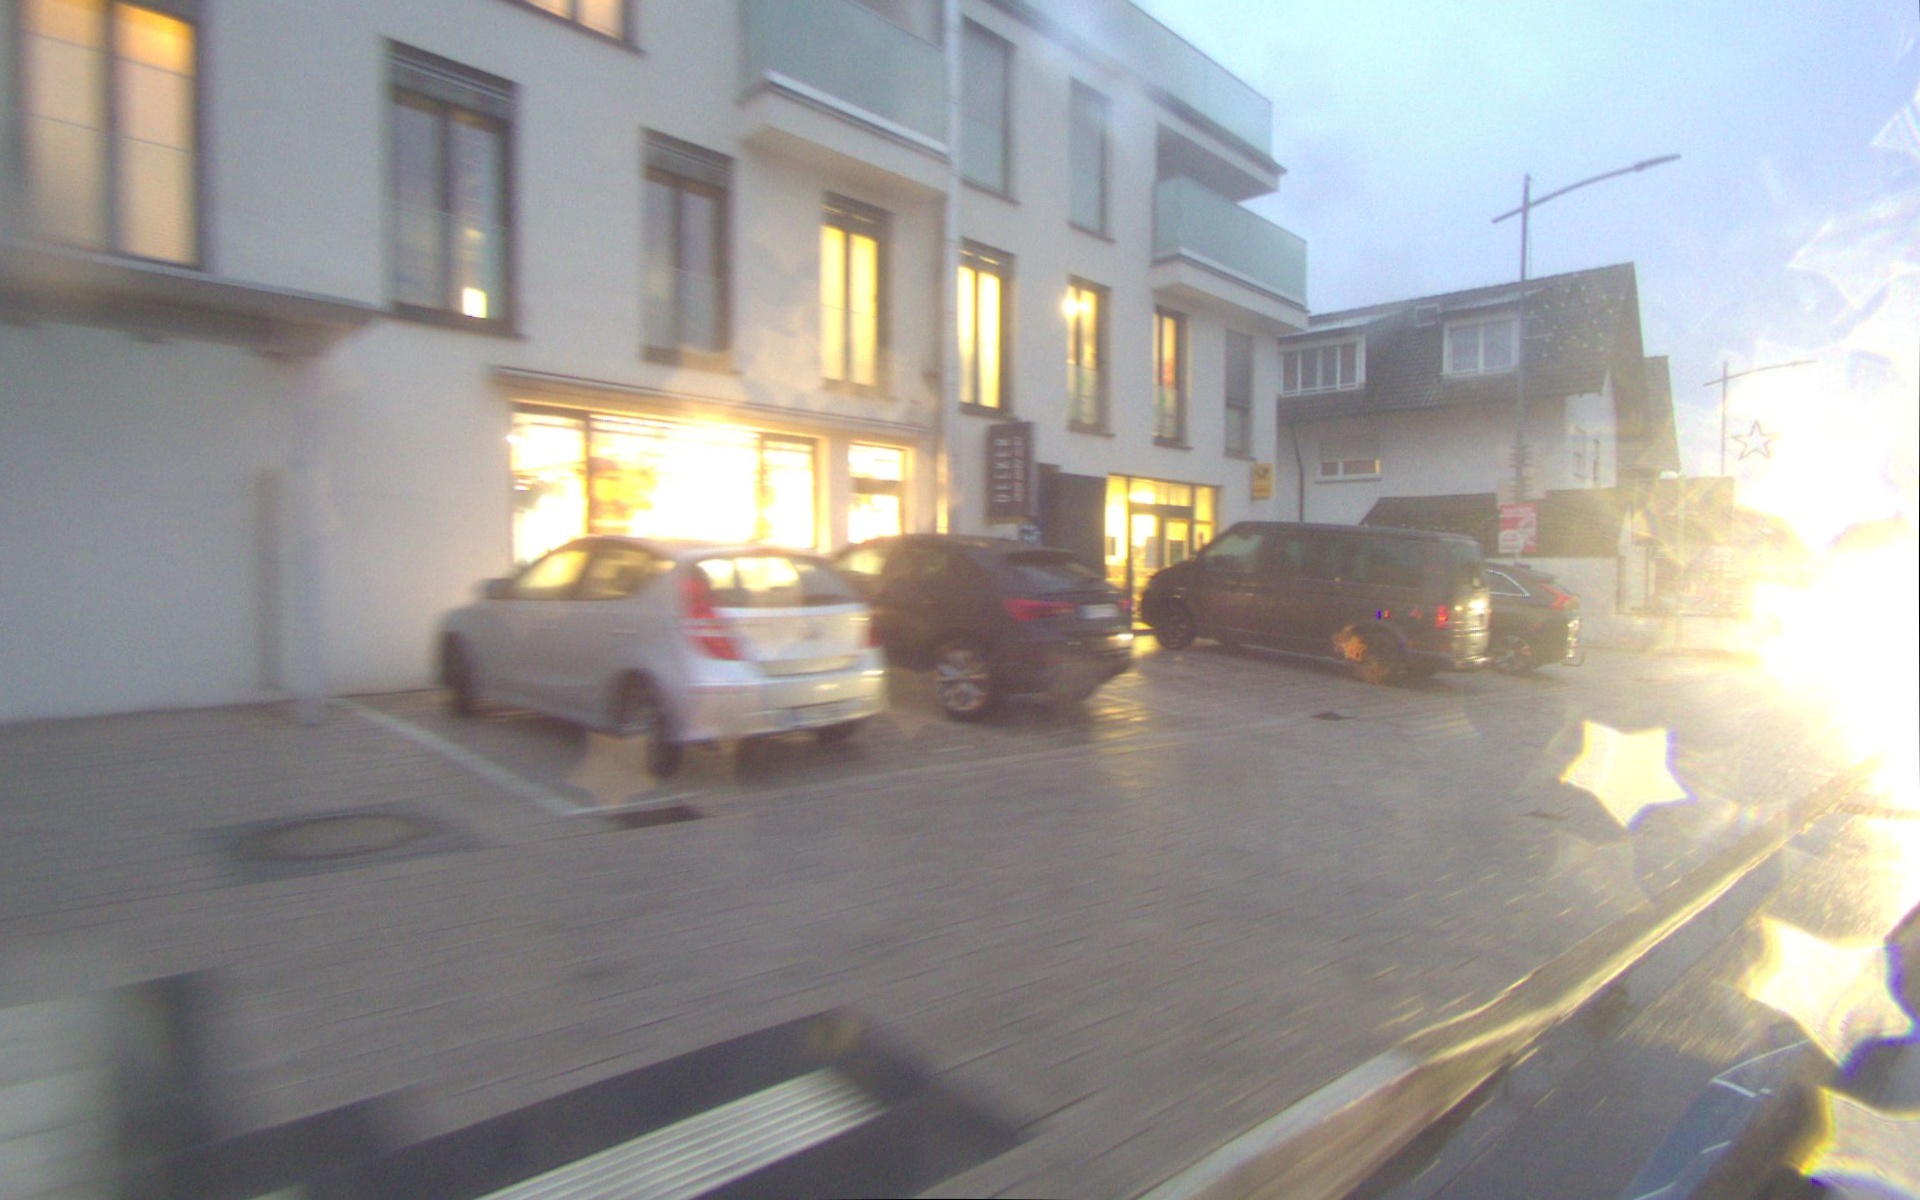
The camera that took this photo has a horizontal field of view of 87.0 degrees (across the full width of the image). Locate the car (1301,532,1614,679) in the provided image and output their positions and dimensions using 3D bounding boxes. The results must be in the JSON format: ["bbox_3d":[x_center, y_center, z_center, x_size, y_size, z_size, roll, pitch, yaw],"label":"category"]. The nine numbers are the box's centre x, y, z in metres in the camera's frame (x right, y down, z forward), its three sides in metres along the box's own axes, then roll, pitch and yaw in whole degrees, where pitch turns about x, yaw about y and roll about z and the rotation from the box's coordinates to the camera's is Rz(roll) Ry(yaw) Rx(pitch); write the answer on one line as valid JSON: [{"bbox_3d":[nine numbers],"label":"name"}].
[{"bbox_3d":[7.953,-0.008,16.393,4.136,1.653,1.730,11,7,38],"label":"car"}]

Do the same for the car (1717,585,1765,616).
[{"bbox_3d":[35.266,0.017,45.728,1.488,1.307,3.251,2,1,34],"label":"car"}]

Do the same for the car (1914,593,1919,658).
[{"bbox_3d":[22.330,0.574,22.395,1.566,1.487,3.563,0,0,41],"label":"car"}]

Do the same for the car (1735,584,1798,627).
[{"bbox_3d":[31.929,0.194,40.051,1.840,1.606,3.715,2,1,39],"label":"car"}]

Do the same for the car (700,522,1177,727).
[{"bbox_3d":[-0.386,0.061,9.921,4.504,1.510,1.946,5,4,40],"label":"car"}]

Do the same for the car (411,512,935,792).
[{"bbox_3d":[-2.288,0.145,7.567,3.981,1.521,1.789,5,5,38],"label":"car"}]

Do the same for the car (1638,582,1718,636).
[{"bbox_3d":[22.537,0.252,31.728,1.769,1.515,3.725,4,2,39],"label":"car"}]

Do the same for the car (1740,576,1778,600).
[{"bbox_3d":[70.192,-1.068,88.945,1.982,2.039,3.960,0,1,29],"label":"car"}]

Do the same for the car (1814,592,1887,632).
[{"bbox_3d":[34.000,0.415,38.730,1.732,1.461,3.948,0,0,36],"label":"car"}]

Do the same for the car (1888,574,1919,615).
[{"bbox_3d":[50.342,-0.300,52.737,1.982,2.039,3.960,0,1,29],"label":"car"}]

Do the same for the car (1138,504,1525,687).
[{"bbox_3d":[4.999,-0.192,14.122,1.943,1.956,4.545,1,5,-45],"label":"car"}]
